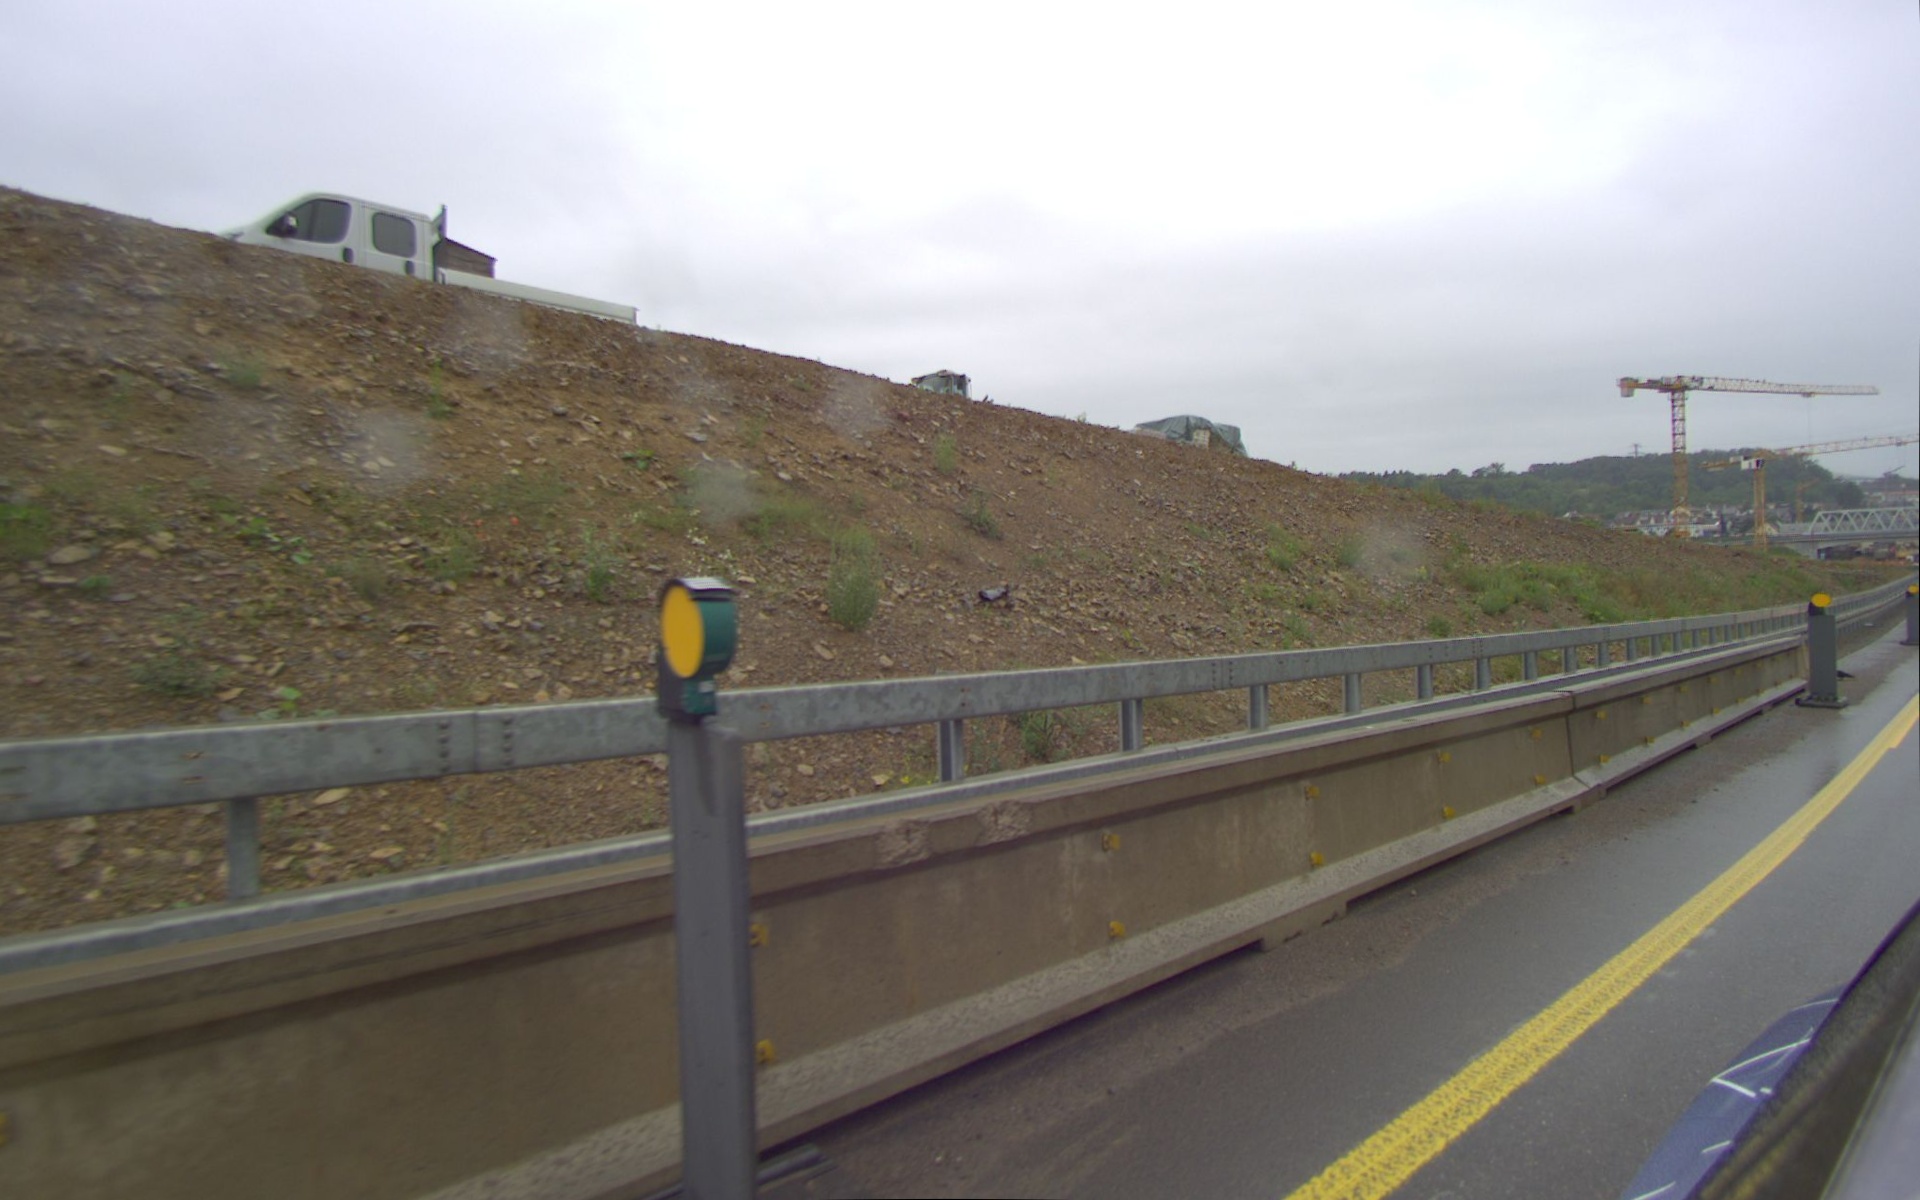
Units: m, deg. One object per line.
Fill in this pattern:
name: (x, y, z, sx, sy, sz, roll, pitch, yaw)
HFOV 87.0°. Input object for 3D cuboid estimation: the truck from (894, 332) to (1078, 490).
truck: (0.940, -5.822, 32.358, 5.882, 4.269, 2.375, -4, 3, -44)

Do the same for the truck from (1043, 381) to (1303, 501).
truck: (6.921, -4.762, 31.919, 8.807, 2.910, 3.401, -4, 3, -41)

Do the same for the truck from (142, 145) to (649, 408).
truck: (-9.023, -4.935, 16.825, 6.871, 2.585, 2.648, -4, 3, -44)
